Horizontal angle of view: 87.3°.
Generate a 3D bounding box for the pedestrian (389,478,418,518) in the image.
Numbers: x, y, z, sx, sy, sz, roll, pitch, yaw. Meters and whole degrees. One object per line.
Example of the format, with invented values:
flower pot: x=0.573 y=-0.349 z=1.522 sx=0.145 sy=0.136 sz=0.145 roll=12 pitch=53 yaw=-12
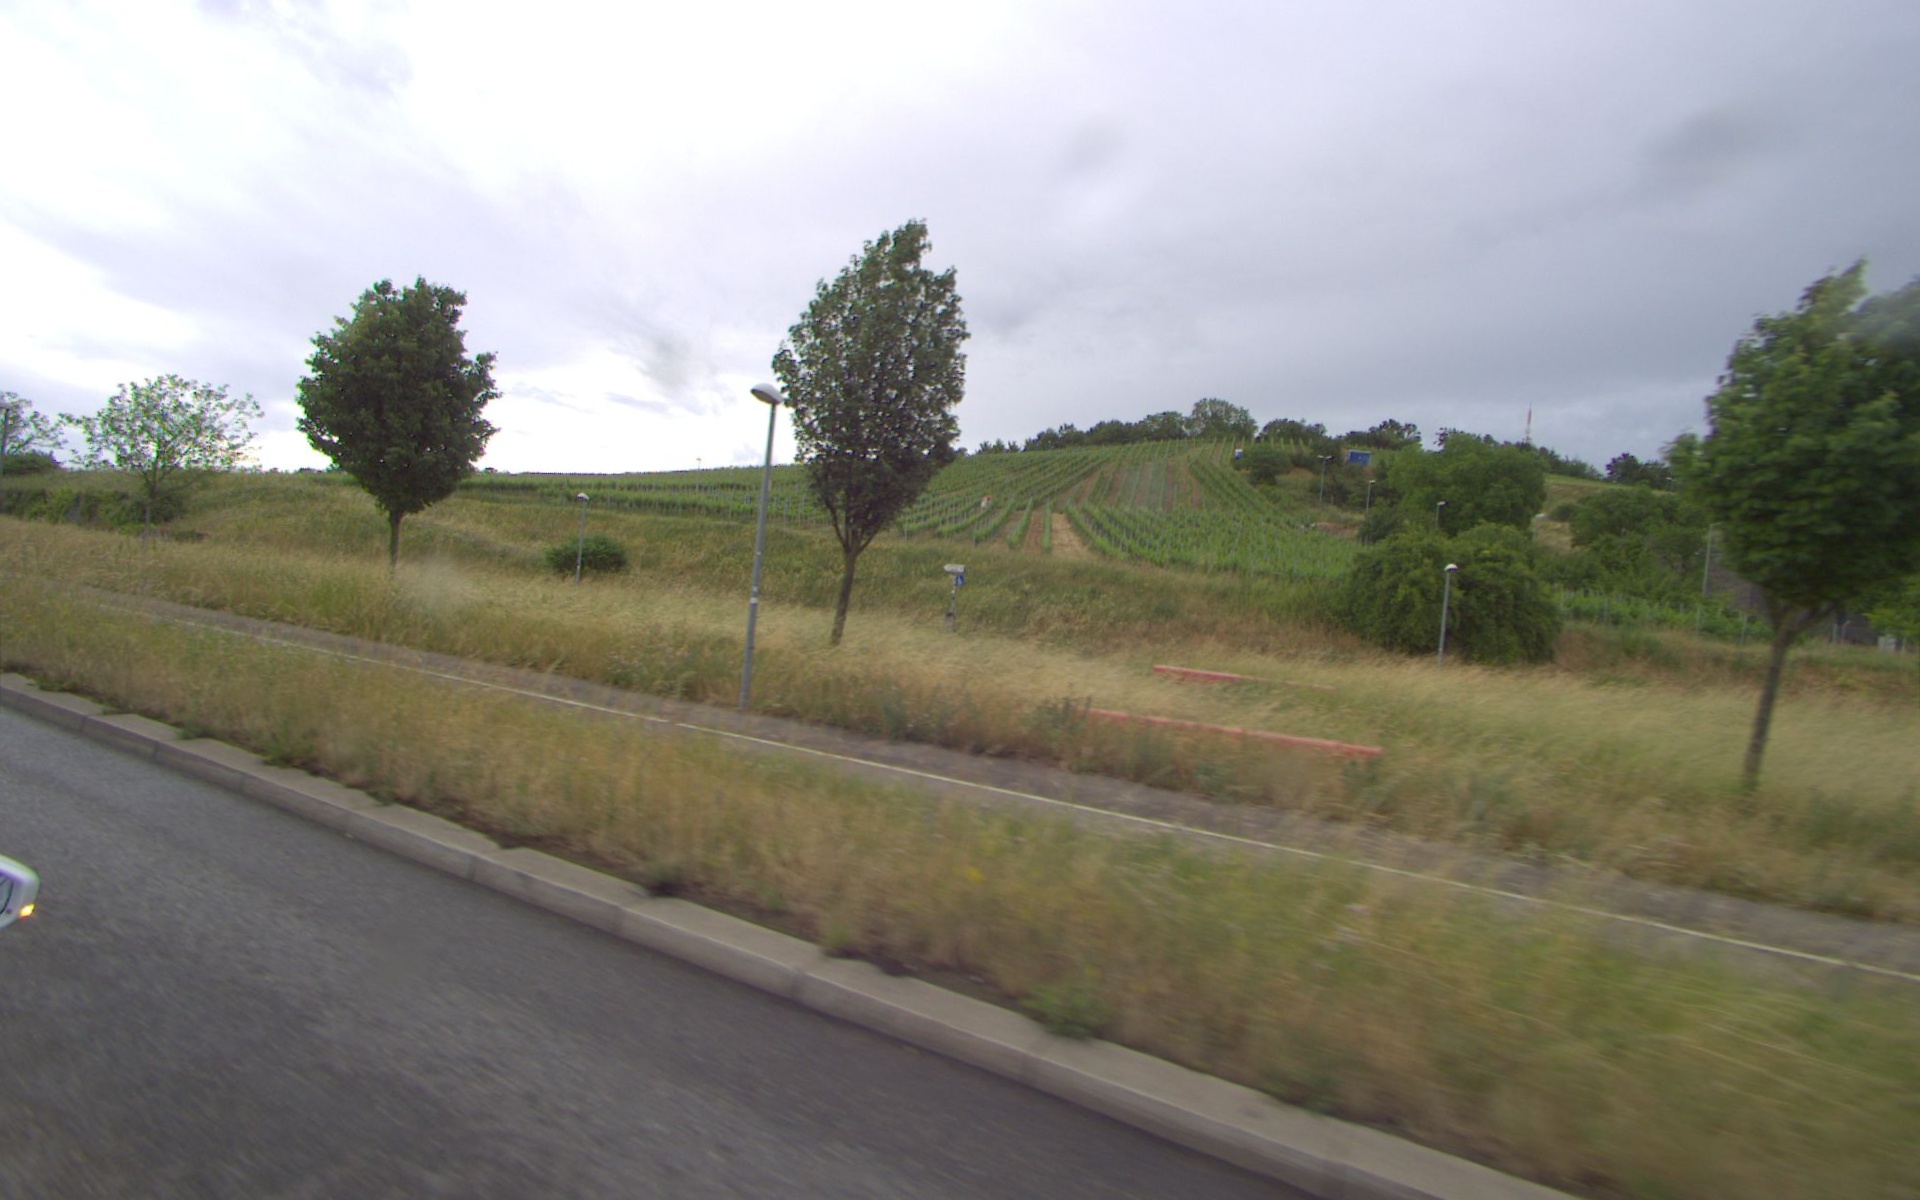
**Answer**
pedestrian: x=-31.648 y=-5.797 z=57.208 sx=1.036 sy=2.040 sz=0.780 roll=7 pitch=2 yaw=-4
